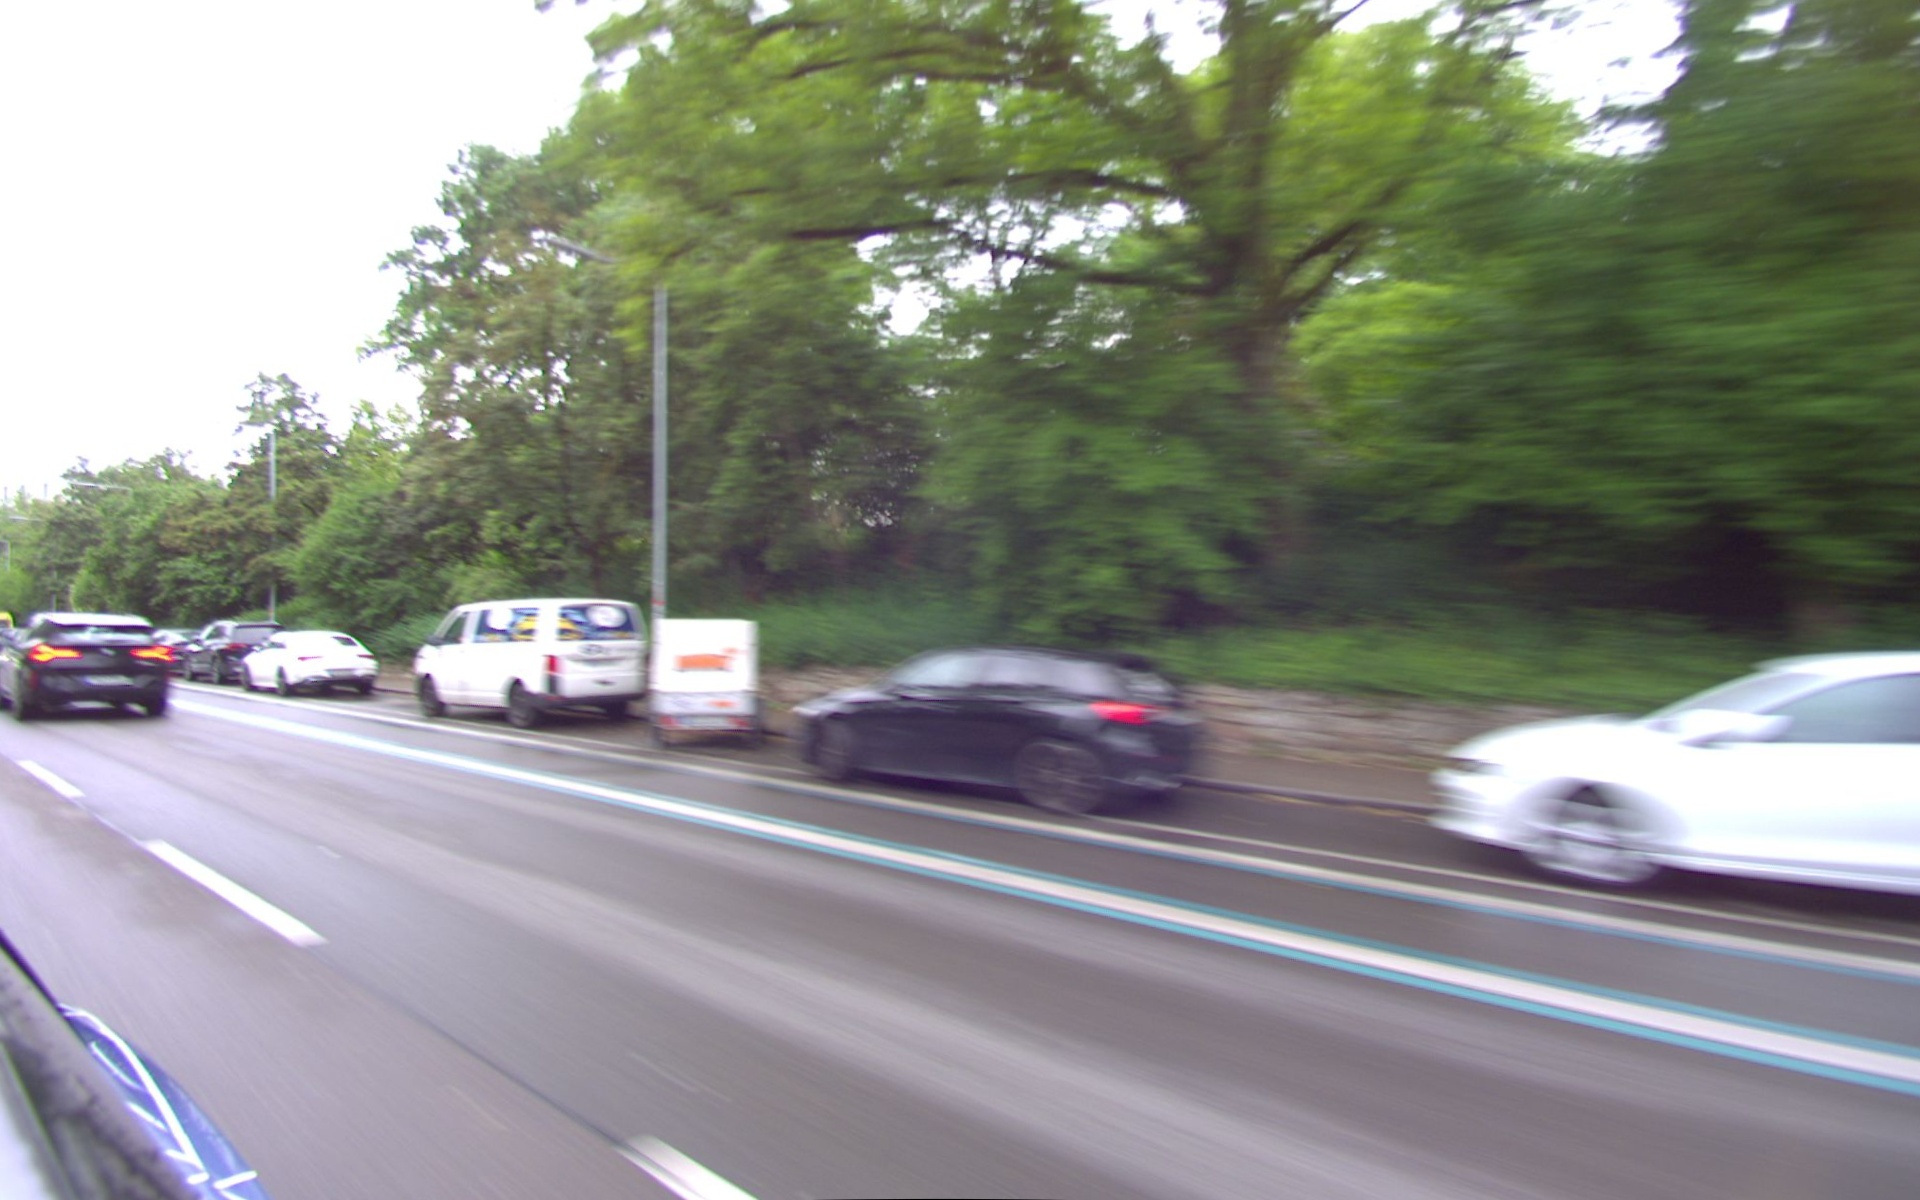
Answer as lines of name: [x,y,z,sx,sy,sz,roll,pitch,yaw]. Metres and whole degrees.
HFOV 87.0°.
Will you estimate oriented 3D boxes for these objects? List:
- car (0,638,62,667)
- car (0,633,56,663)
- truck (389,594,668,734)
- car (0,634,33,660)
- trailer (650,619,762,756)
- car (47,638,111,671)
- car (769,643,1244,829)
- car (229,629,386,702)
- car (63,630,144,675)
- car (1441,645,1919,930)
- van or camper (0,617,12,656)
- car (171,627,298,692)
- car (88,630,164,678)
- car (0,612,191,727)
car: [-44.409,2.460,48.300,4.204,1.303,1.802,-2,-2,41]
car: [-47.810,2.442,51.820,3.771,1.446,1.802,-2,-2,41]
truck: [-7.376,1.003,17.081,5.151,2.029,2.073,-2,-2,37]
car: [-55.670,2.721,59.090,3.556,1.490,1.802,-2,-3,41]
trailer: [-3.356,1.100,13.615,1.329,1.670,2.271,0,-2,-11]
car: [-36.344,2.224,41.715,3.595,1.303,1.494,-2,-2,41]
car: [0.299,1.142,9.926,4.439,1.409,1.804,-2,-2,38]
car: [-15.284,1.457,23.590,4.750,1.509,1.788,-1,-2,41]
car: [-32.361,1.944,38.214,3.990,1.600,1.795,-2,-3,42]
car: [5.405,0.997,5.962,4.352,1.446,1.737,-2,-3,39]
van or camper: [-63.325,2.366,65.714,4.433,2.470,2.138,-2,-2,41]
car: [-20.111,1.595,27.987,4.669,1.673,1.718,-2,-3,40]
car: [-29.168,1.875,35.370,2.858,1.606,1.508,-2,-3,40]
car: [-14.684,1.100,16.919,4.475,1.662,2.017,-2,-3,41]
